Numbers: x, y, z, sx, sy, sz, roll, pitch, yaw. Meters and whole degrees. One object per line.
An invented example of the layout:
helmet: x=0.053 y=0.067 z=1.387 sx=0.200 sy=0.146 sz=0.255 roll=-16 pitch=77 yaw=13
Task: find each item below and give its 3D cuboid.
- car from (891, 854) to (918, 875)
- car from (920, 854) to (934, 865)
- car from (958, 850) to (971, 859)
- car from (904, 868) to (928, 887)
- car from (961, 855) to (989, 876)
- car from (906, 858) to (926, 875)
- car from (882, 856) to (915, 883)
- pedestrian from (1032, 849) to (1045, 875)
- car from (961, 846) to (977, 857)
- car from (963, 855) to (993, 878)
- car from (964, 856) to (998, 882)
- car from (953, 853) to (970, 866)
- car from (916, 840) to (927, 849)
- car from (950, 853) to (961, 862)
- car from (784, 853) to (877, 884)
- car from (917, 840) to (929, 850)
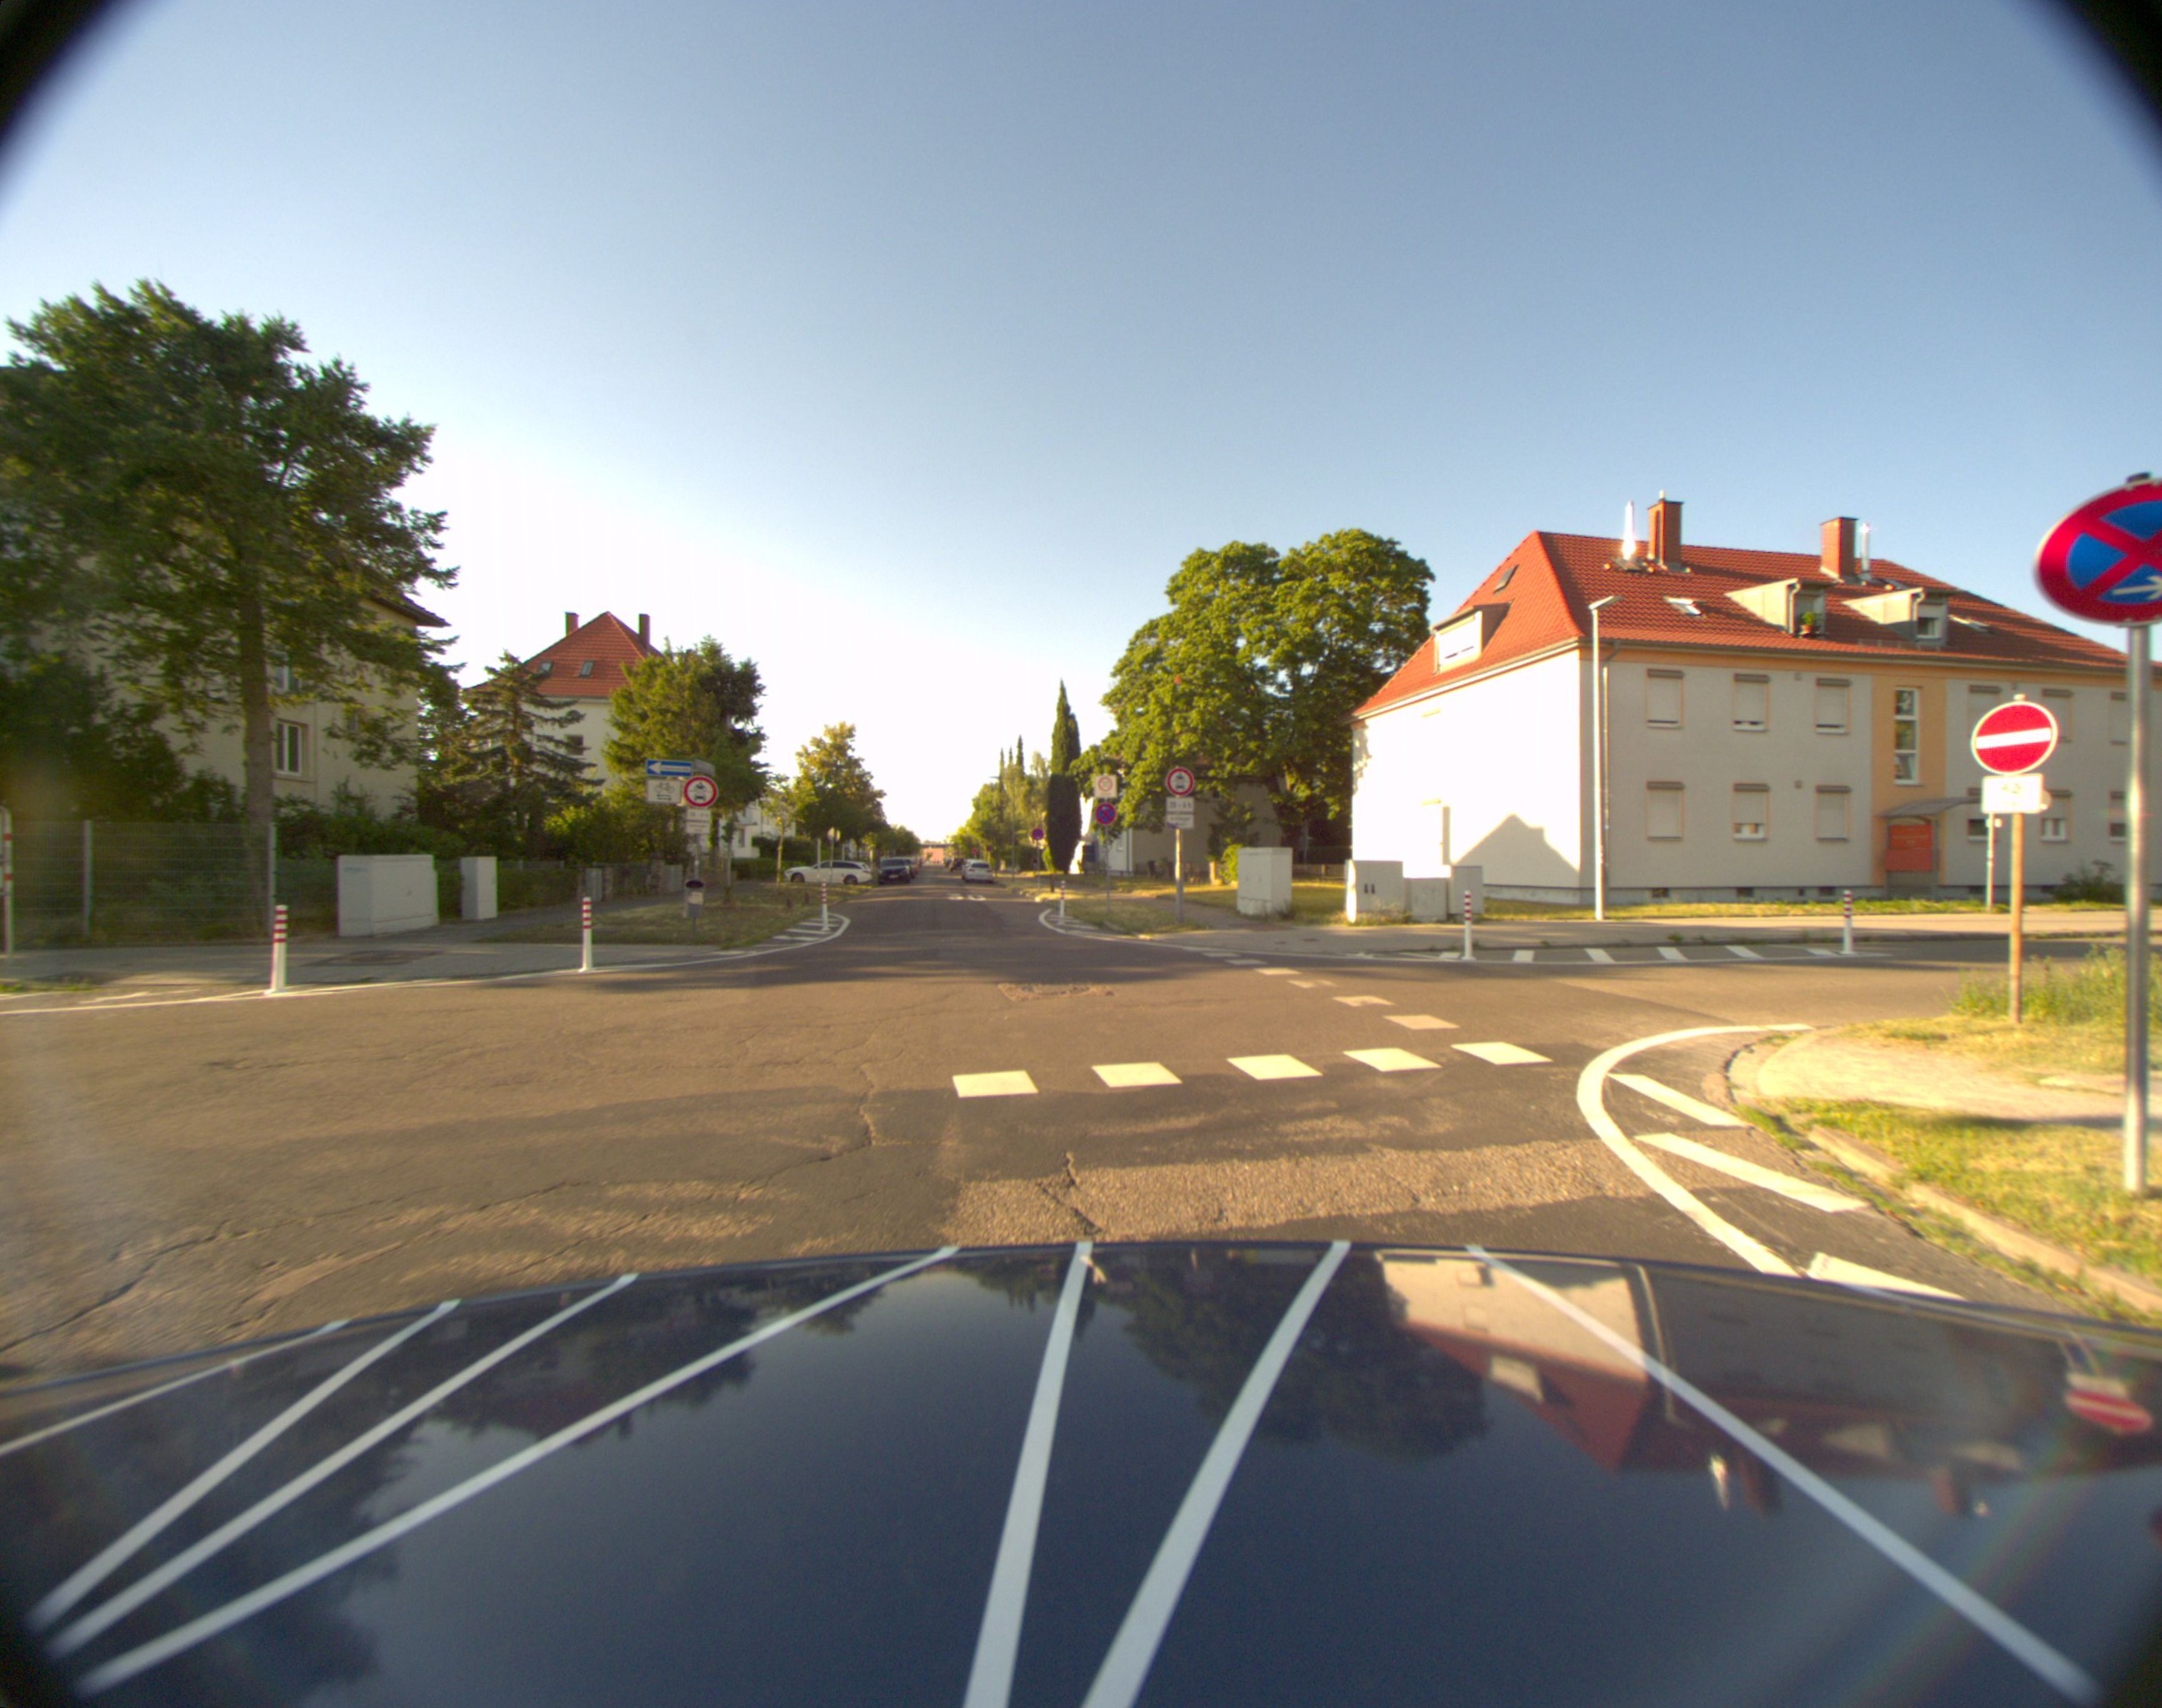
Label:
car: x=-14.002 y=0.790 z=60.227 sx=1.973 sy=1.604 sz=4.241 roll=0 pitch=0 yaw=-14
car: x=-23.638 y=0.852 z=116.477 sx=1.973 sy=1.604 sz=4.241 roll=0 pitch=0 yaw=-14
car: x=-19.305 y=0.071 z=125.784 sx=1.972 sy=1.604 sz=4.243 roll=0 pitch=0 yaw=-11
car: x=-15.043 y=2.115 z=69.288 sx=1.973 sy=1.604 sz=4.241 roll=0 pitch=0 yaw=-14
car: x=-8.579 y=0.890 z=61.383 sx=1.972 sy=1.604 sz=4.243 roll=0 pitch=0 yaw=-11
car: x=-17.257 y=1.268 z=79.331 sx=1.973 sy=1.604 sz=4.241 roll=0 pitch=0 yaw=-14
car: x=-11.668 y=0.950 z=48.460 sx=1.973 sy=1.604 sz=4.241 roll=0 pitch=0 yaw=-14
pedestrian: x=-3.277 y=0.632 z=58.636 sx=0.899 sy=2.002 sz=0.692 roll=0 pitch=1 yaw=-11
car: x=-16.234 y=-0.387 z=110.192 sx=1.972 sy=1.604 sz=4.242 roll=0 pitch=0 yaw=-12
car: x=-7.697 y=0.914 z=56.524 sx=1.972 sy=1.604 sz=4.243 roll=0 pitch=0 yaw=-11
car: x=-6.653 y=0.971 z=50.301 sx=1.972 sy=1.604 sz=4.243 roll=0 pitch=0 yaw=-11
car: x=-14.936 y=0.687 z=94.865 sx=1.972 sy=1.604 sz=4.243 roll=0 pitch=0 yaw=-11
car: x=-31.209 y=-1.876 z=148.418 sx=1.973 sy=1.765 sz=4.241 roll=0 pitch=0 yaw=-14
car: x=-22.704 y=0.583 z=137.363 sx=1.972 sy=1.604 sz=4.243 roll=0 pitch=0 yaw=-11
car: x=-14.258 y=0.831 z=43.507 sx=4.840 sy=1.604 sz=1.969 roll=2 pitch=0 yaw=-13
car: x=-28.047 y=-1.545 z=134.787 sx=1.973 sy=1.765 sz=4.241 roll=0 pitch=0 yaw=-14
